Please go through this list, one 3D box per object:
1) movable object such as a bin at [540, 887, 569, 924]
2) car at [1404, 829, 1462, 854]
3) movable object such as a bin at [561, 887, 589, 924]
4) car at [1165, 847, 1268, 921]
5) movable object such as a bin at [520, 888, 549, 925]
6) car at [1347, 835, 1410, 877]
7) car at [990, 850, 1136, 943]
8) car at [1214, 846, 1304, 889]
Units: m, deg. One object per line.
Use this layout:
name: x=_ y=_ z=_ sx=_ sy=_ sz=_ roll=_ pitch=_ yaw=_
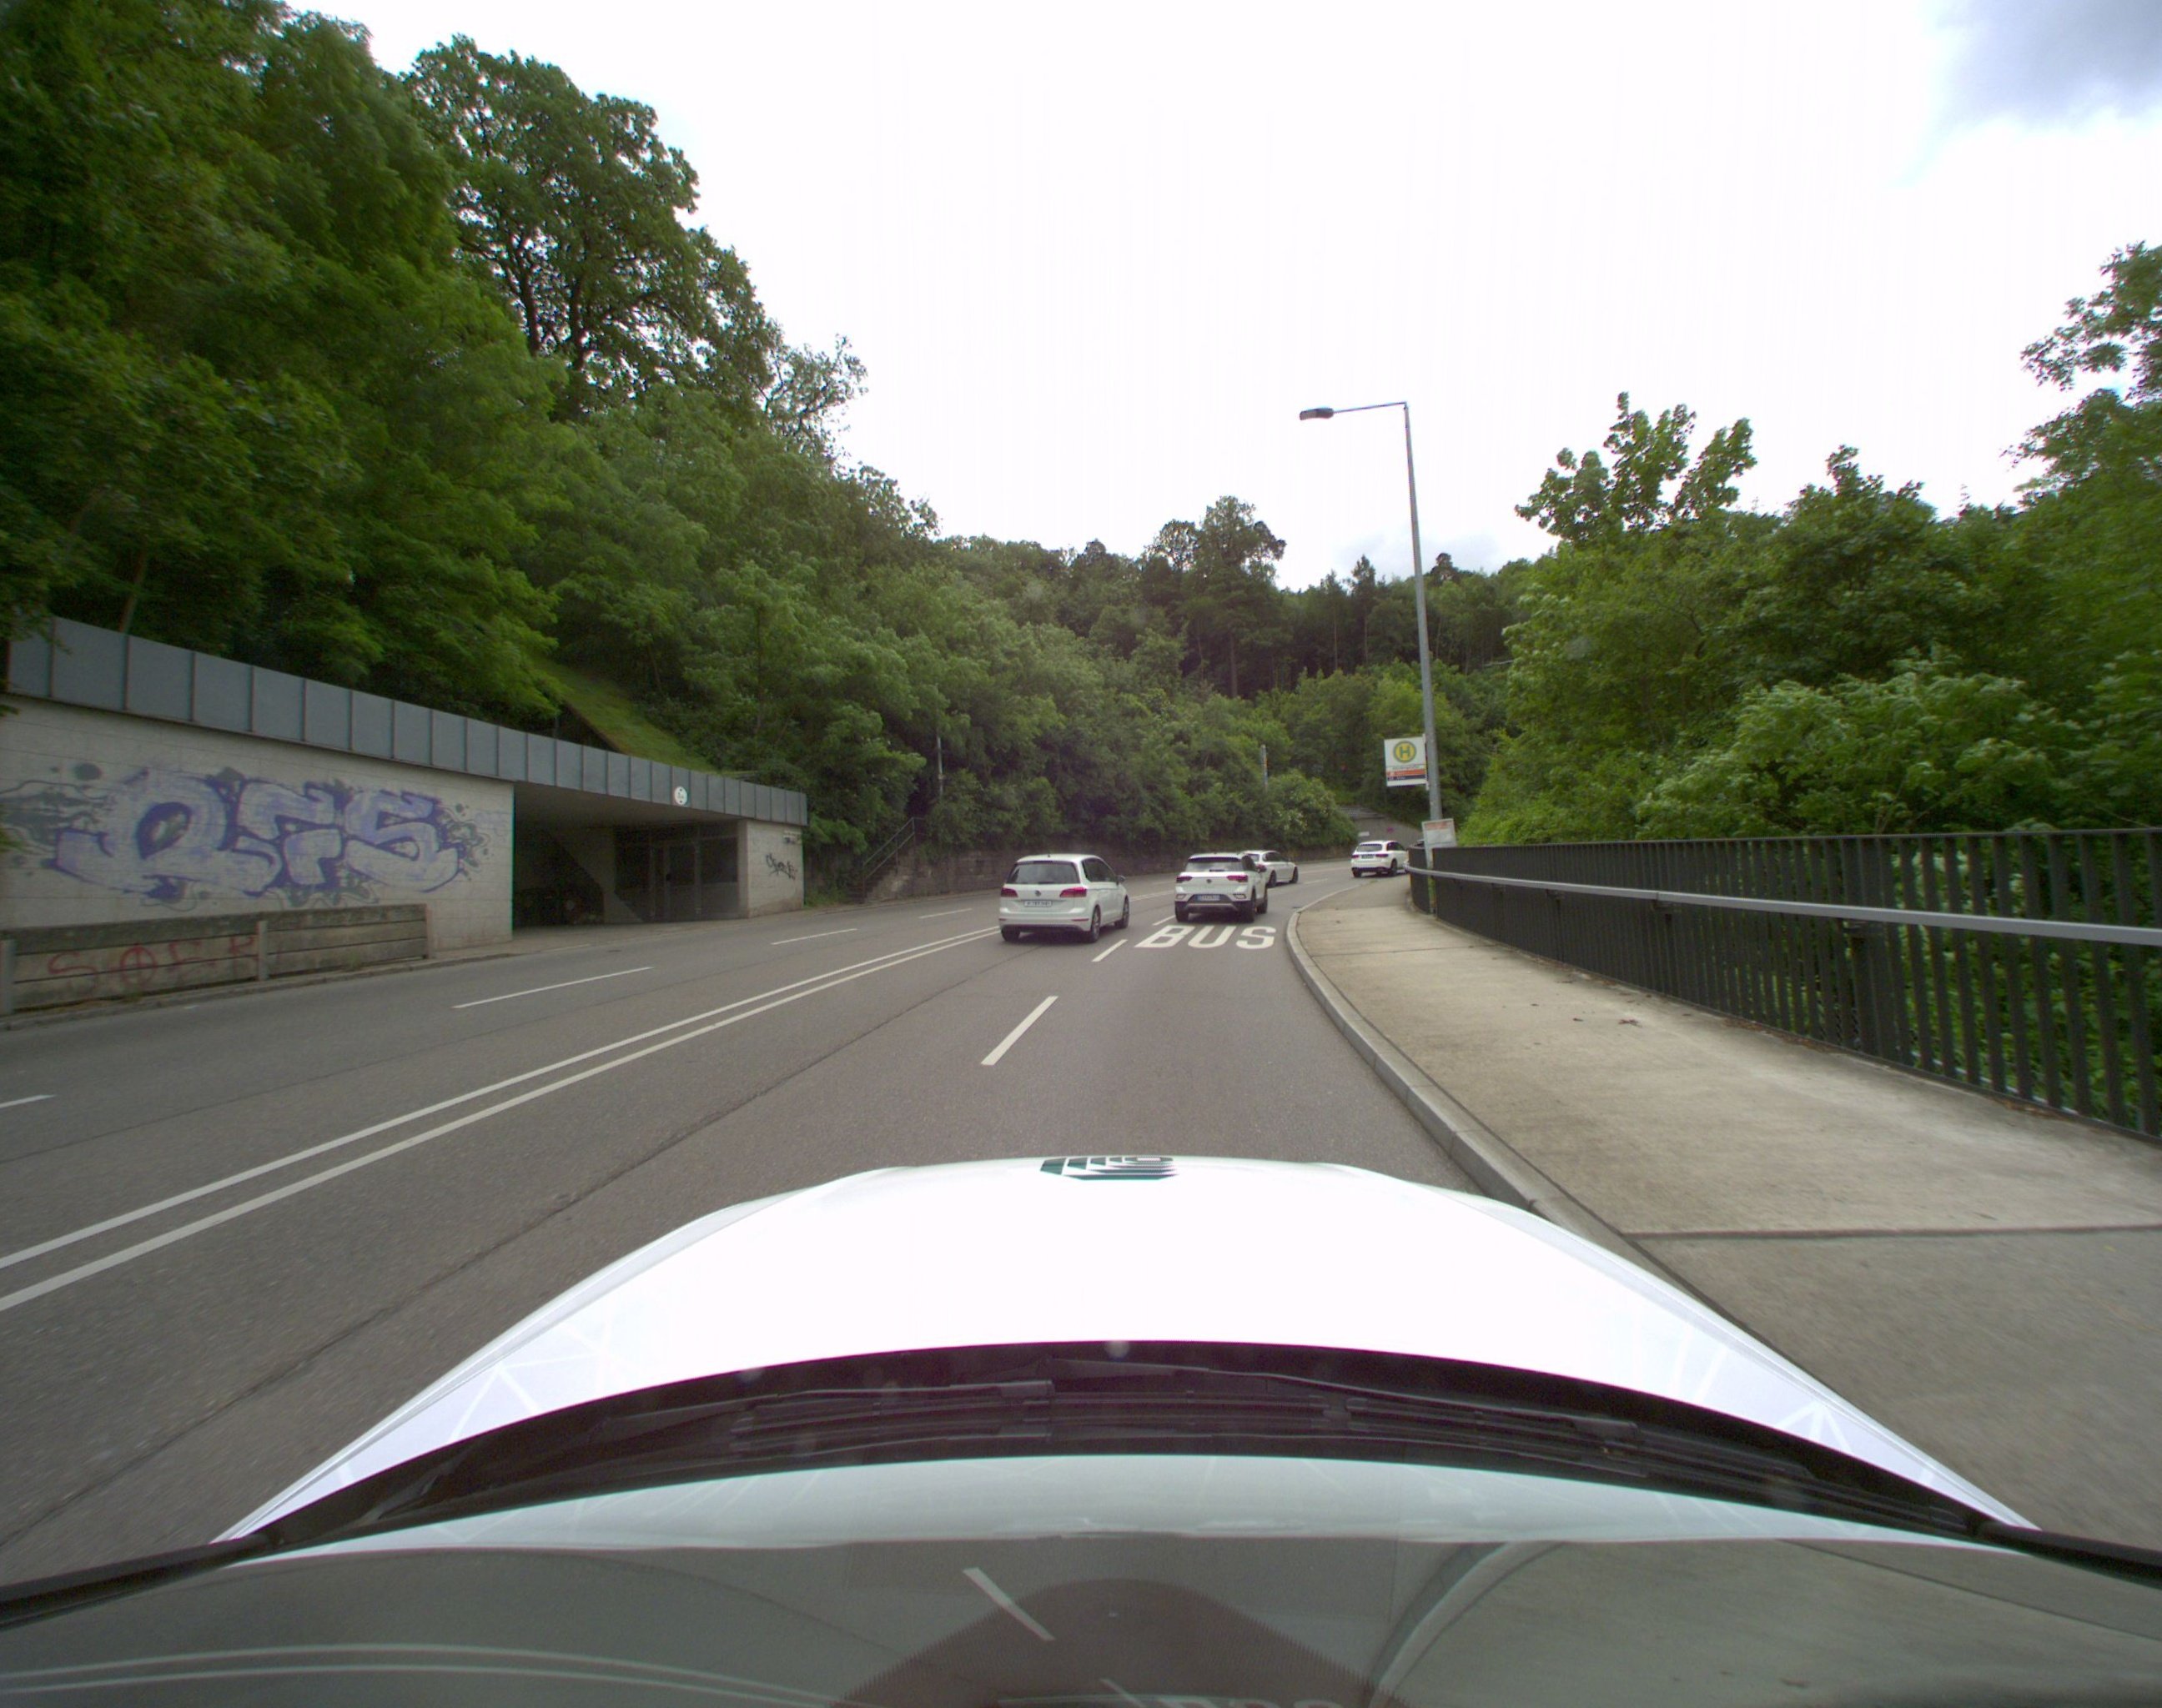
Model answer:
movable object such as a bin: x=-14.839 y=1.443 z=22.963 sx=0.423 sy=0.997 sz=0.512 roll=0 pitch=-1 yaw=24
car: x=22.381 y=-0.762 z=51.705 sx=4.332 sy=1.519 sz=1.726 roll=1 pitch=-1 yaw=-42
movable object such as a bin: x=-14.280 y=1.448 z=23.006 sx=0.423 sy=0.997 sz=0.501 roll=0 pitch=-1 yaw=24
car: x=3.360 y=0.672 z=19.565 sx=1.799 sy=1.539 sz=4.027 roll=-2 pitch=-1 yaw=18
movable object such as a bin: x=-15.515 y=1.480 z=23.114 sx=0.491 sy=0.997 sz=0.481 roll=0 pitch=-1 yaw=24
car: x=13.953 y=0.129 z=38.030 sx=1.974 sy=1.843 sz=4.176 roll=0 pitch=-1 yaw=31
car: x=-0.186 y=0.729 z=15.968 sx=1.707 sy=1.554 sz=4.292 roll=-1 pitch=0 yaw=15
car: x=7.333 y=0.493 z=33.209 sx=1.974 sy=1.557 sz=4.711 roll=1 pitch=2 yaw=34
